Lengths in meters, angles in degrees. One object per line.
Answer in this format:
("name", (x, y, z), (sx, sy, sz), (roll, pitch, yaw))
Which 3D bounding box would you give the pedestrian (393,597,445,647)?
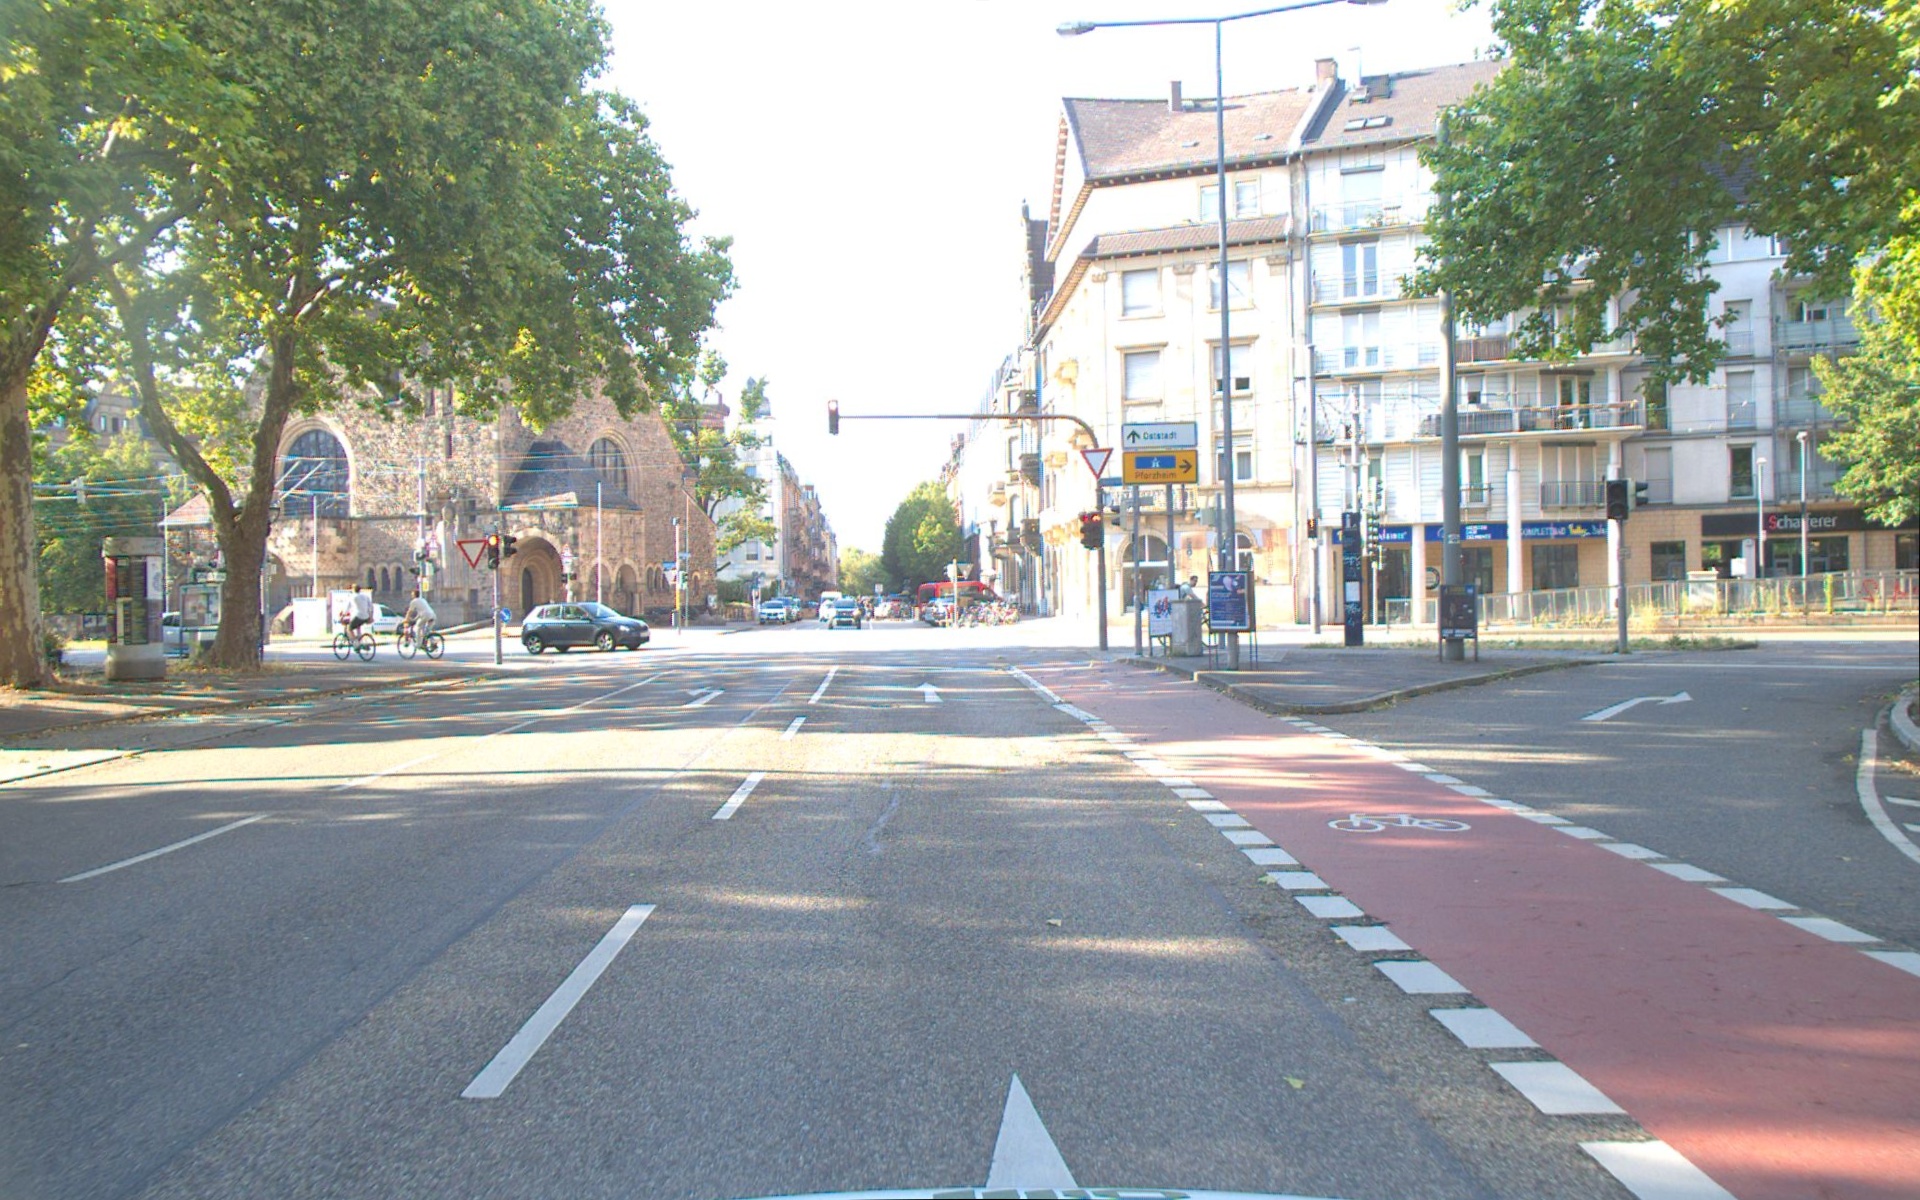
("pedestrian", (-14.279, 0.576, 43.644), (1.028, 1.300, 0.791), (0, -1, 28))

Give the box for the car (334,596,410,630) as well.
("car", (-33.477, 0.762, 94.263), (1.823, 1.870, 3.999), (0, -1, 23))

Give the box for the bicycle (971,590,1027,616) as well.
("bicycle", (1.951, 0.165, 82.338), (2.748, 1.225, 0.509), (1, -1, -6))

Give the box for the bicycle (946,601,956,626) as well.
("bicycle", (-0.450, 0.688, 82.725), (0.498, 1.225, 2.091), (1, -1, 0))

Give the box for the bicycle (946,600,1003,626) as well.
("bicycle", (0.723, 0.641, 80.867), (2.748, 1.225, 0.516), (1, -1, -6))

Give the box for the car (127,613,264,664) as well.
("car", (-25.166, 1.239, 54.439), (3.904, 1.583, 1.853), (1, -1, 20))

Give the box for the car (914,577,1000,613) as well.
("car", (-0.171, -0.291, 100.406), (4.952, 2.049, 2.137), (2, -1, -38))

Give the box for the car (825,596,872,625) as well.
("car", (-6.007, 0.568, 89.239), (1.553, 1.488, 3.185), (1, -1, 15))

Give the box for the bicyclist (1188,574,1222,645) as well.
("bicyclist", (5.936, 0.226, 40.078), (0.784, 1.685, 0.935), (1, -1, 9))

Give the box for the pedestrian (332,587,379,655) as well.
("pedestrian", (-15.543, 0.540, 42.523), (0.972, 1.738, 0.627), (0, -1, 30))

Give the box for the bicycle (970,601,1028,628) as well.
("bicycle", (1.879, 0.705, 80.130), (2.748, 1.225, 0.509), (1, -1, -6))

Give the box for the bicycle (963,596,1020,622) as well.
("bicycle", (1.535, 0.466, 81.623), (2.748, 1.225, 0.516), (1, -1, -6))

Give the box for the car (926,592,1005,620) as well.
("car", (0.335, 0.363, 96.821), (4.379, 1.565, 1.852), (1, -1, -35))

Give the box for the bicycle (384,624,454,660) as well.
("bicycle", (-14.299, 1.101, 43.683), (1.747, 0.911, 0.749), (-1, 0, 28))

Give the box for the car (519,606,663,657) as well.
("car", (-10.940, 0.924, 49.035), (3.844, 1.421, 1.653), (1, -1, 19))

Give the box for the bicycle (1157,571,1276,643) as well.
("bicycle", (6.190, 0.173, 39.938), (2.781, 1.685, 0.831), (1, -1, 9))

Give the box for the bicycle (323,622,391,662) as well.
("bicycle", (-15.489, 1.067, 42.479), (1.750, 0.999, 0.655), (0, -1, 30))

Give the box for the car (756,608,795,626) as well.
("car", (-12.849, 1.182, 115.325), (1.560, 1.164, 3.386), (1, -1, 16))
